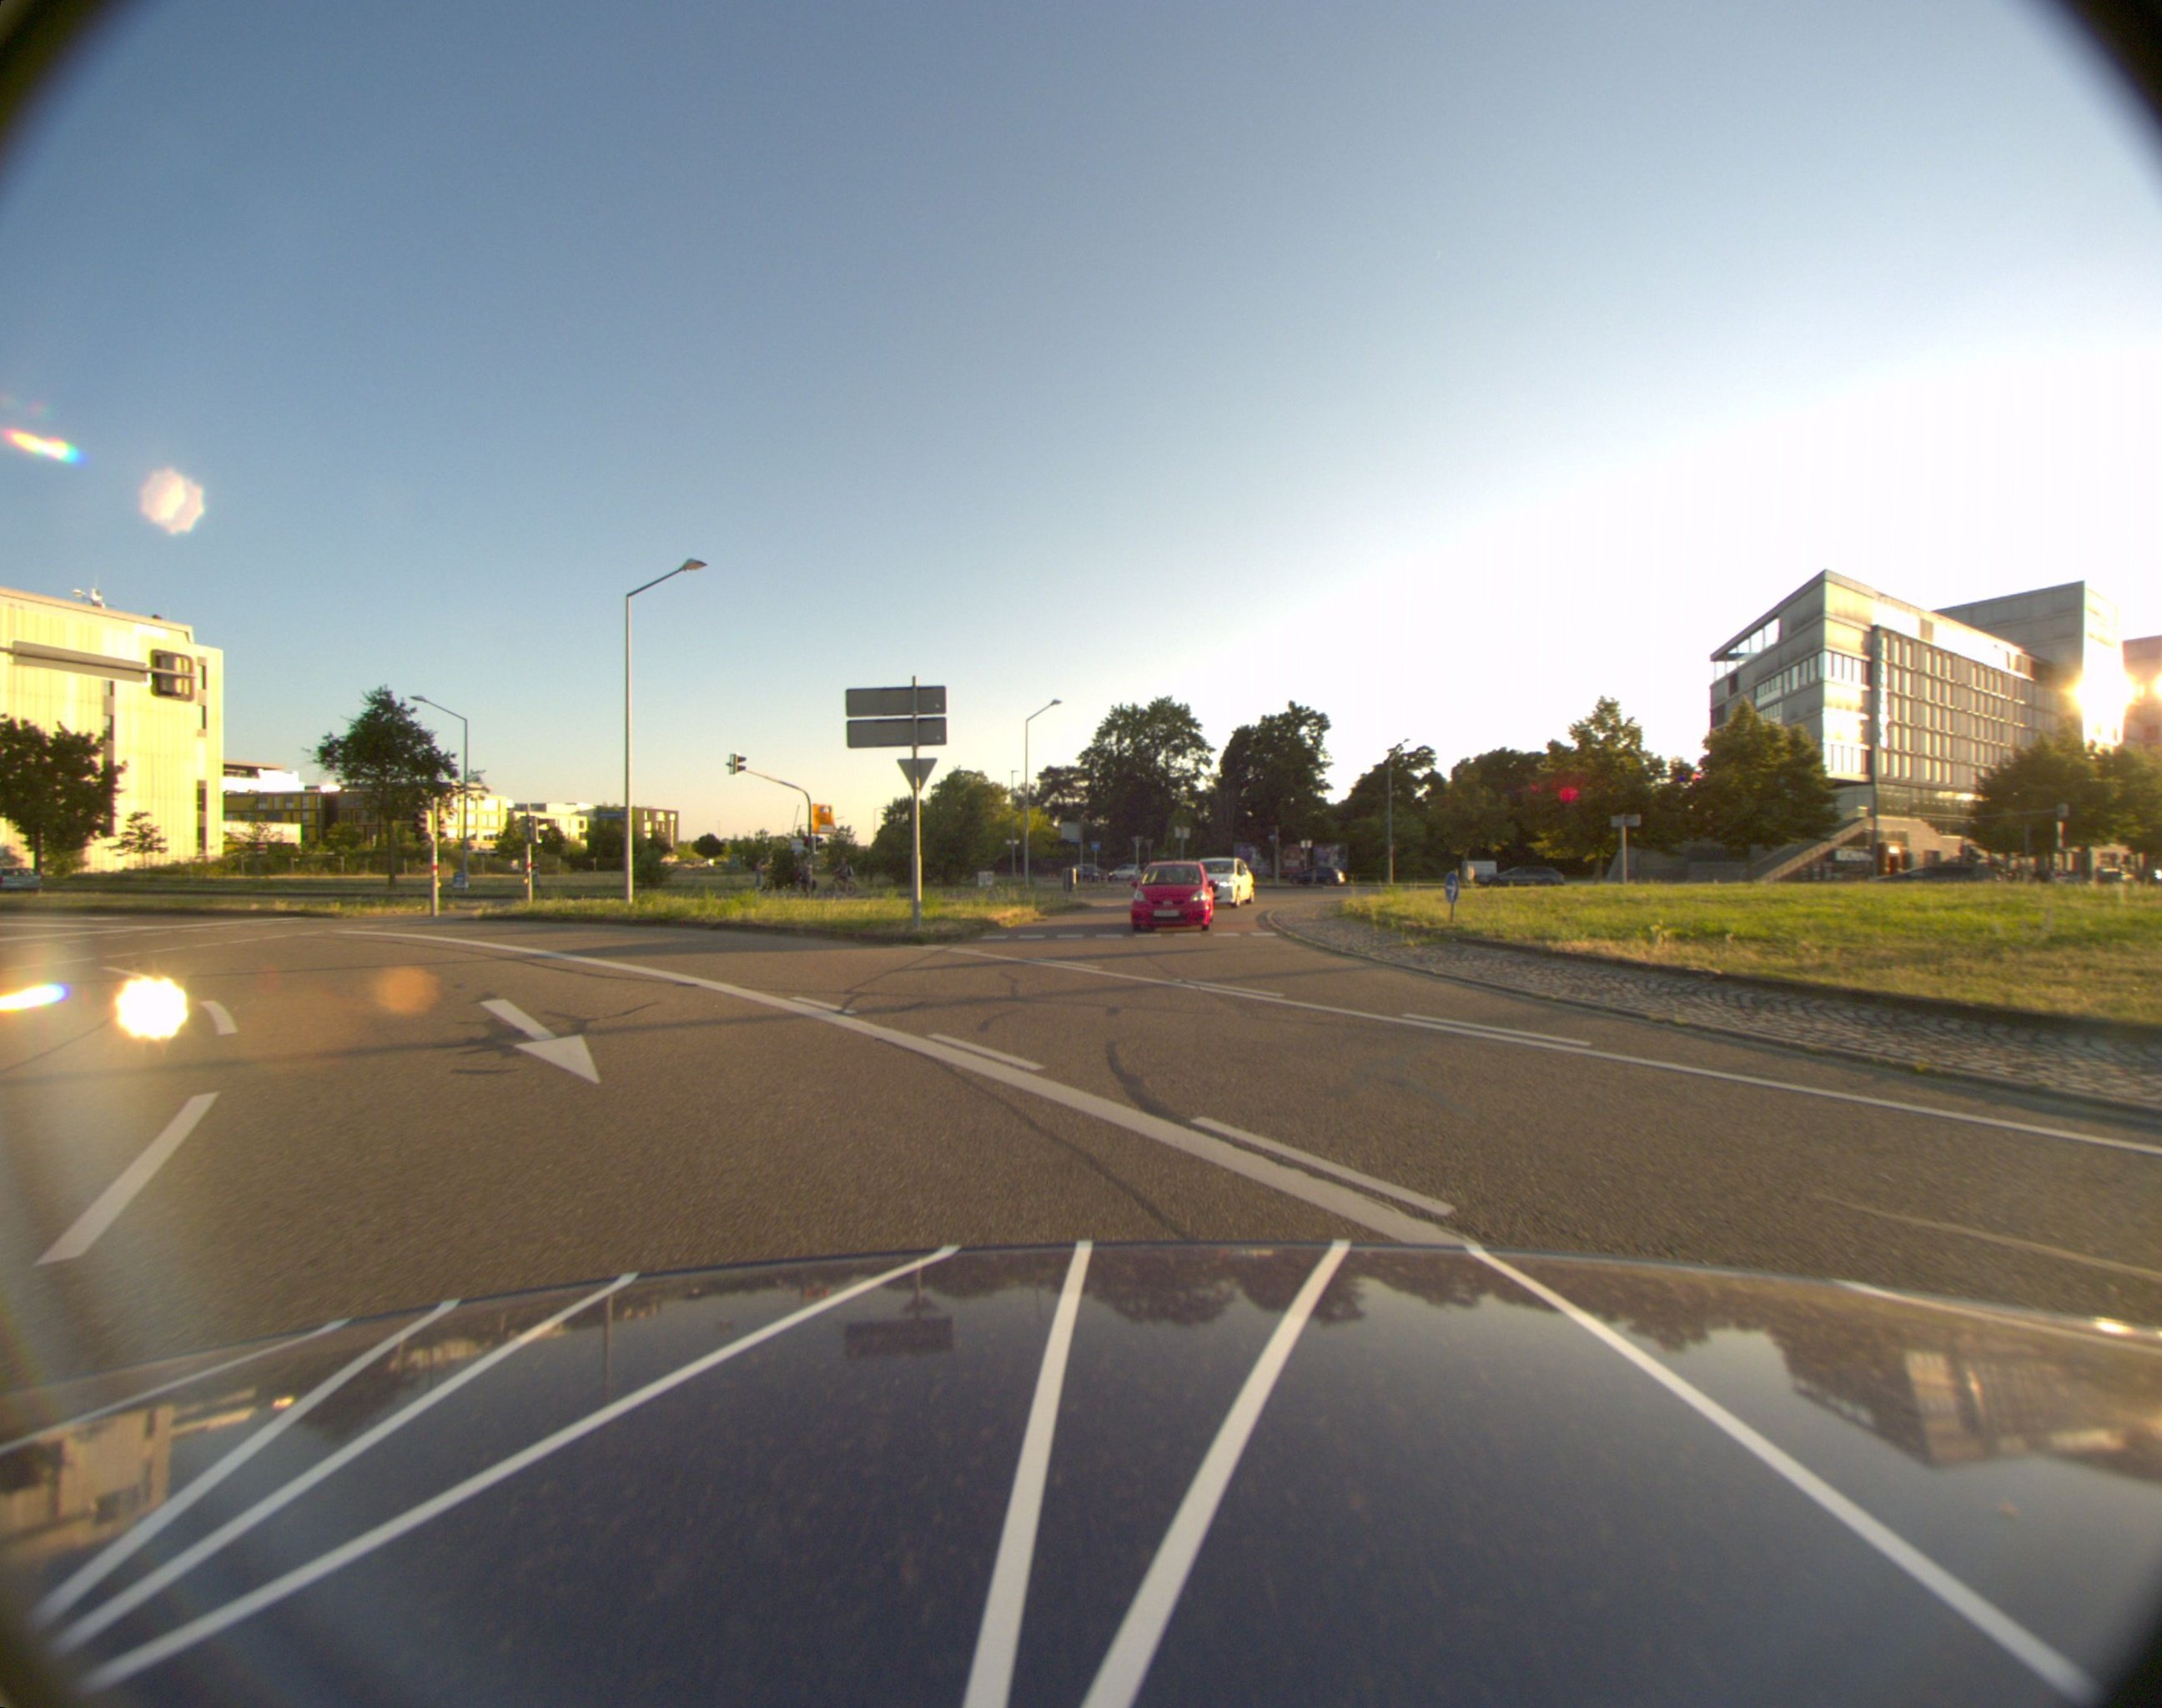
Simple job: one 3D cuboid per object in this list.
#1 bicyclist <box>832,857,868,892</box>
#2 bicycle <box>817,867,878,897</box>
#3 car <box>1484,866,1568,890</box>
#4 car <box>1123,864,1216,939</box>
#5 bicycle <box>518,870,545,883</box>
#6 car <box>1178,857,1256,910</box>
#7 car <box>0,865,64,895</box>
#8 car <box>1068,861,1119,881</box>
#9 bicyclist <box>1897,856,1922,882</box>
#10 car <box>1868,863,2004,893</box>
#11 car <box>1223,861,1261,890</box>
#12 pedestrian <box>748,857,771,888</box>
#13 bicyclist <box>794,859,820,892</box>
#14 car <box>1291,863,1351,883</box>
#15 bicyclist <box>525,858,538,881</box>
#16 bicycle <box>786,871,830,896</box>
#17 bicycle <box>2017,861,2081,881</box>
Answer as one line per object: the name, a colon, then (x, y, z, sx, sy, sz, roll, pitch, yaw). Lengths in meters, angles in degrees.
bicyclist: (-11.848, 1.045, 38.981, 1.121, 1.739, 1.419, 1, 0, 20)
bicycle: (-11.906, 1.420, 38.949, 1.121, 1.387, 3.544, 1, 0, 20)
car: (27.951, 1.471, 47.863, 4.392, 1.424, 1.948, 0, 0, 24)
car: (2.099, 0.945, 16.978, 1.692, 1.413, 4.215, 0, 0, 12)
bicycle: (-33.305, 1.375, 46.040, 1.416, 0.787, 0.474, 0, 0, 8)
car: (4.511, 0.893, 24.672, 1.756, 1.549, 4.221, 0, 0, 21)
car: (-57.917, 1.390, 41.053, 4.124, 1.538, 2.002, 0, 0, 12)
car: (1.008, 1.370, 62.373, 1.846, 1.492, 4.243, 0, 0, -39)
bicyclist: (50.373, 0.910, 46.205, 0.756, 1.516, 0.976, 0, 1, -40)
car: (42.548, 1.147, 38.000, 4.390, 1.424, 1.949, -1, 0, 45)
car: (9.462, 1.209, 44.419, 1.824, 1.549, 4.220, 0, 0, 17)
pedestrian: (-17.890, 1.026, 42.282, 0.889, 1.691, 0.721, 0, 0, 11)
bicyclist: (-13.959, 1.080, 38.739, 0.809, 1.623, 1.002, 0, 0, 21)
car: (17.454, 1.374, 55.211, 3.739, 1.424, 1.949, -1, 0, 35)
bicyclist: (-33.290, 0.945, 46.030, 0.447, 1.389, 0.474, 0, 0, 8)
bicycle: (-13.926, 1.484, 38.838, 0.809, 1.172, 2.333, 0, 0, 21)
bicycle: (59.621, 1.038, 46.818, 0.756, 1.160, 2.402, 0, 0, -40)
